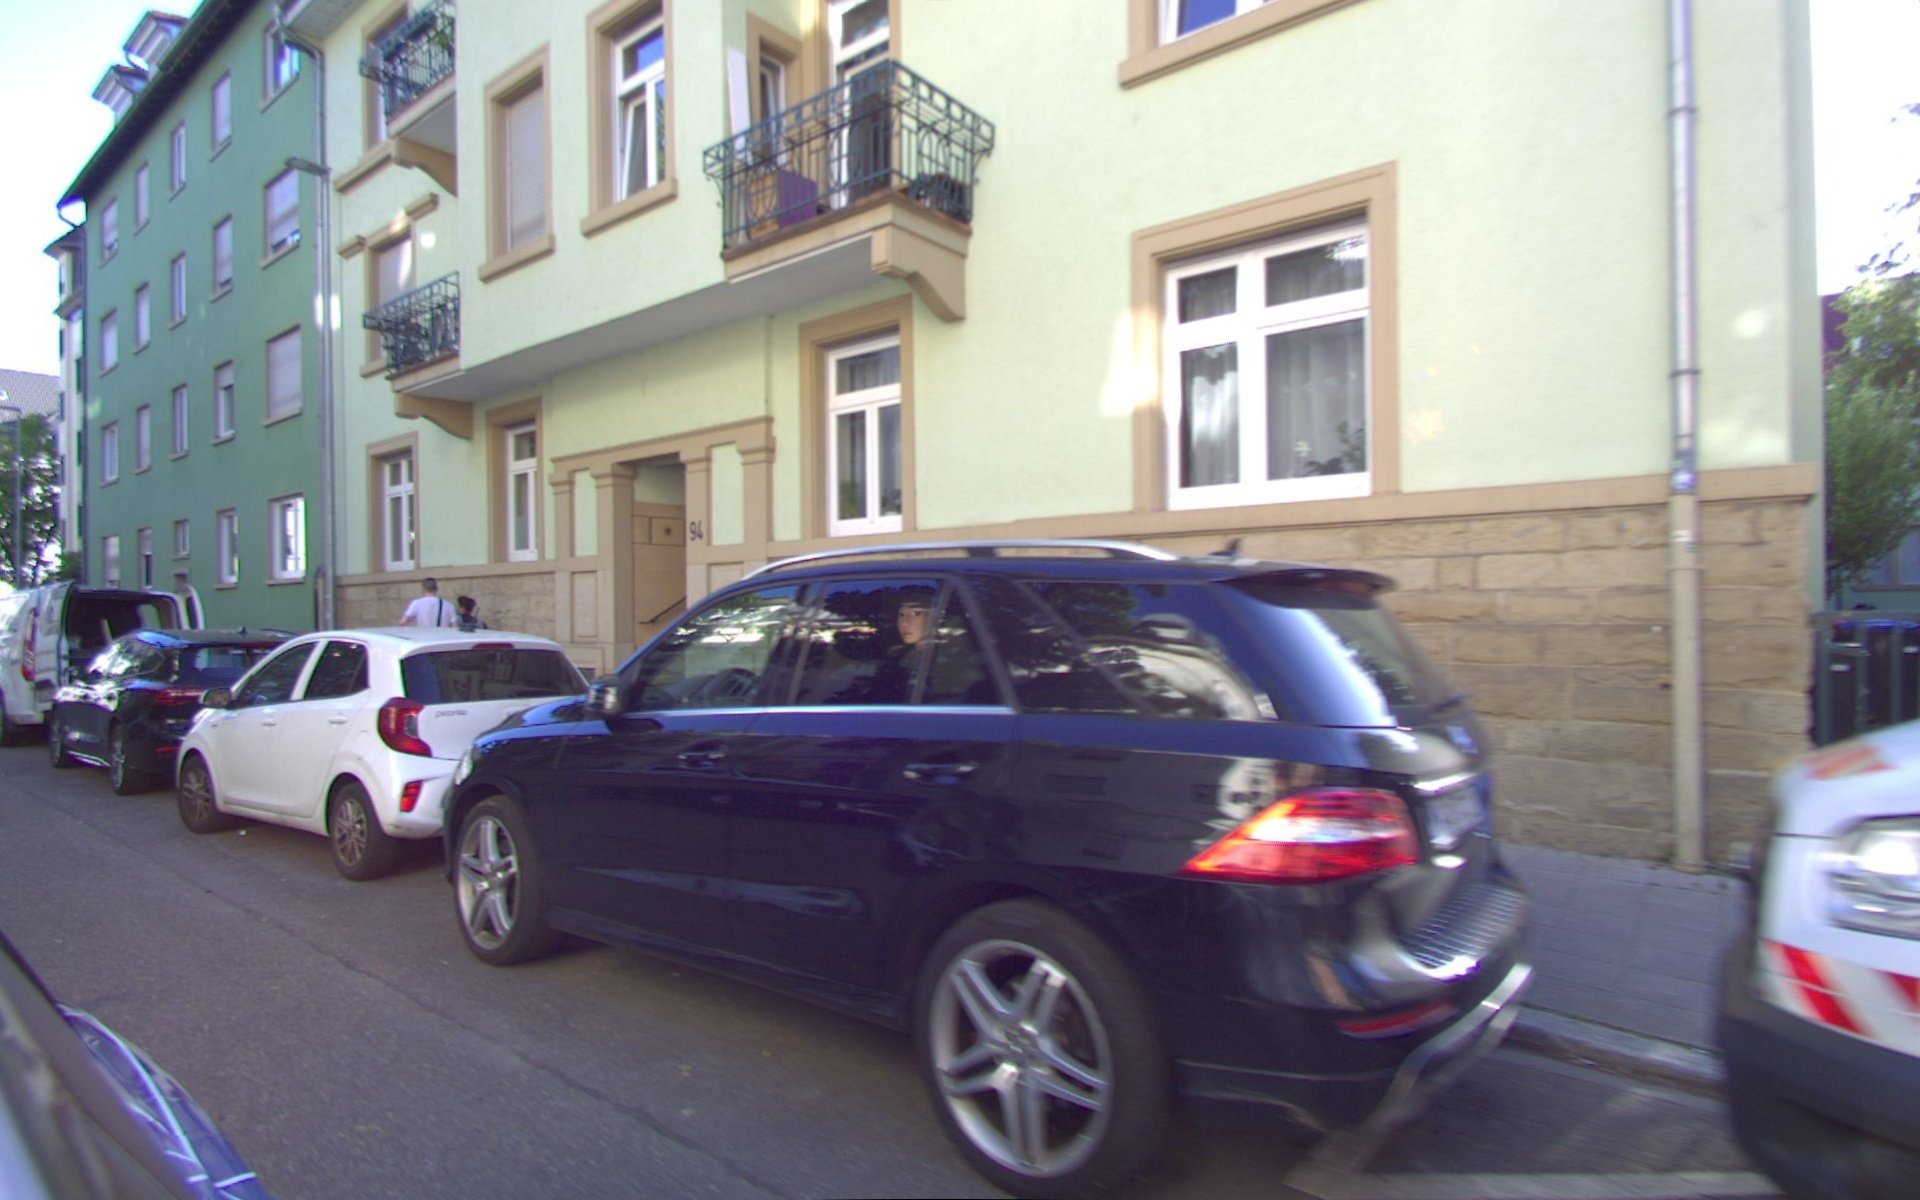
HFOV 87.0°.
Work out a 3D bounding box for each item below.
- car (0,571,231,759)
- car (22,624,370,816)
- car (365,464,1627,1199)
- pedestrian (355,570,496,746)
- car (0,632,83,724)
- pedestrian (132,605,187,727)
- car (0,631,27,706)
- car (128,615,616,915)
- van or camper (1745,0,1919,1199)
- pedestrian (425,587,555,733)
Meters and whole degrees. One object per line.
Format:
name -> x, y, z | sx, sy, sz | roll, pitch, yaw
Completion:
car -> -12.562, 0.844, 14.242 | 5.235, 2.185, 2.230 | -1, -3, 37
car -> -7.941, 1.029, 10.331 | 4.820, 1.533, 1.749 | -2, -2, 39
car -> -0.364, 0.686, 4.097 | 4.963, 1.698, 1.857 | -2, -3, 39
pedestrian -> -6.099, 0.618, 11.541 | 1.241, 1.875, 0.983 | -1, 0, 38
car -> -17.046, 1.286, 17.640 | 4.357, 1.473, 1.815 | -1, -3, 38
pedestrian -> -12.234, 0.985, 15.460 | 0.844, 1.800, 0.481 | -2, -1, 39
car -> -20.937, 1.348, 20.809 | 4.498, 1.473, 1.704 | -1, -3, 36
car -> -4.345, 0.899, 7.224 | 4.083, 1.563, 1.619 | -1, -2, 38
van or camper -> 4.229, 0.134, 0.633 | 5.845, 2.790, 2.107 | -1, -3, 39
pedestrian -> -5.808, 0.706, 12.507 | 1.241, 1.687, 0.983 | -1, 0, 38
